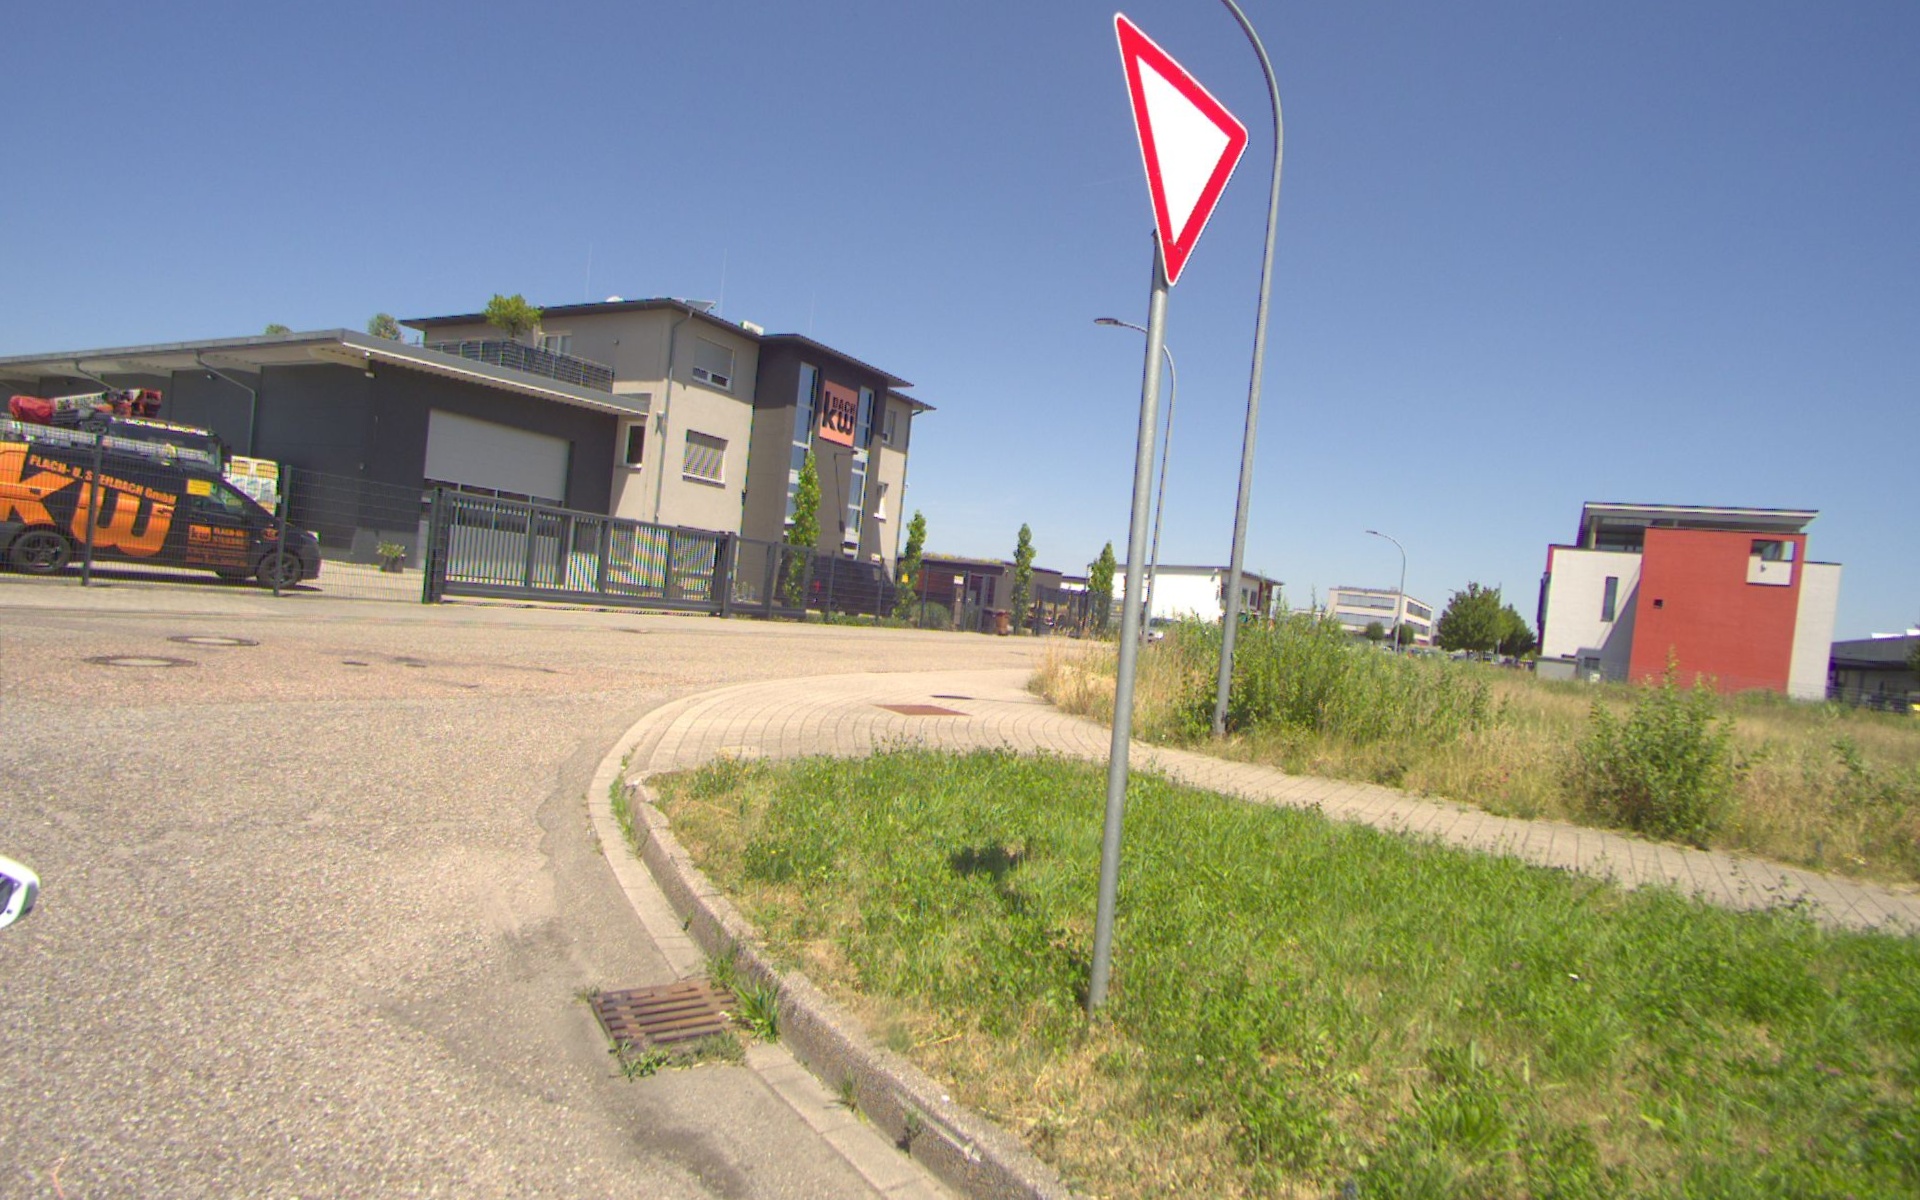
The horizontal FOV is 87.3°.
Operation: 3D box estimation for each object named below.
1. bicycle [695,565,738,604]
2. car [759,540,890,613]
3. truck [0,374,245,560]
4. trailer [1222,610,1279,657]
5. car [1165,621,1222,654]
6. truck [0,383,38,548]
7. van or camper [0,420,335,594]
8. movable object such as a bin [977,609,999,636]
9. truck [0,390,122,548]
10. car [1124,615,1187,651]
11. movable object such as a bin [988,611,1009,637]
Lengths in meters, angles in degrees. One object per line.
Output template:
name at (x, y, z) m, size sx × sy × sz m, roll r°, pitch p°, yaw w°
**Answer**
bicycle at (-8.283, -0.515, 34.270) m, size 0.436 × 1.200 × 1.807 m, roll 7°, pitch 1°, yaw 18°
car at (-4.316, -0.717, 32.593) m, size 1.967 × 1.891 × 3.989 m, roll 7°, pitch 1°, yaw 32°
truck at (-21.836, -3.393, 25.903) m, size 6.820 × 3.979 × 2.923 m, roll 7°, pitch 1°, yaw 32°
trailer at (18.147, 2.114, 62.753) m, size 2.195 × 2.633 × 3.991 m, roll 7°, pitch 1°, yaw 31°
car at (12.277, 1.993, 52.734) m, size 1.650 × 1.402 × 3.632 m, roll 8°, pitch 1°, yaw 32°
truck at (-21.643, -2.952, 20.205) m, size 6.820 × 3.101 × 2.729 m, roll 7°, pitch 1°, yaw 32°
van or camper at (-13.427, -1.452, 16.463) m, size 1.967 × 2.191 × 4.940 m, roll 8°, pitch 1°, yaw 31°
movable object such as a bin at (1.017, 0.821, 36.407) m, size 0.552 × 0.896 × 0.434 m, roll 7°, pitch 2°, yaw 33°
truck at (-28.101, -3.901, 29.735) m, size 6.820 × 3.979 × 2.923 m, roll 7°, pitch 1°, yaw 32°
car at (9.468, 1.607, 48.545) m, size 1.650 × 1.402 × 3.632 m, roll 8°, pitch 1°, yaw 32°
movable object such as a bin at (1.434, 0.889, 37.098) m, size 0.552 × 0.896 × 0.434 m, roll 7°, pitch 2°, yaw 33°
